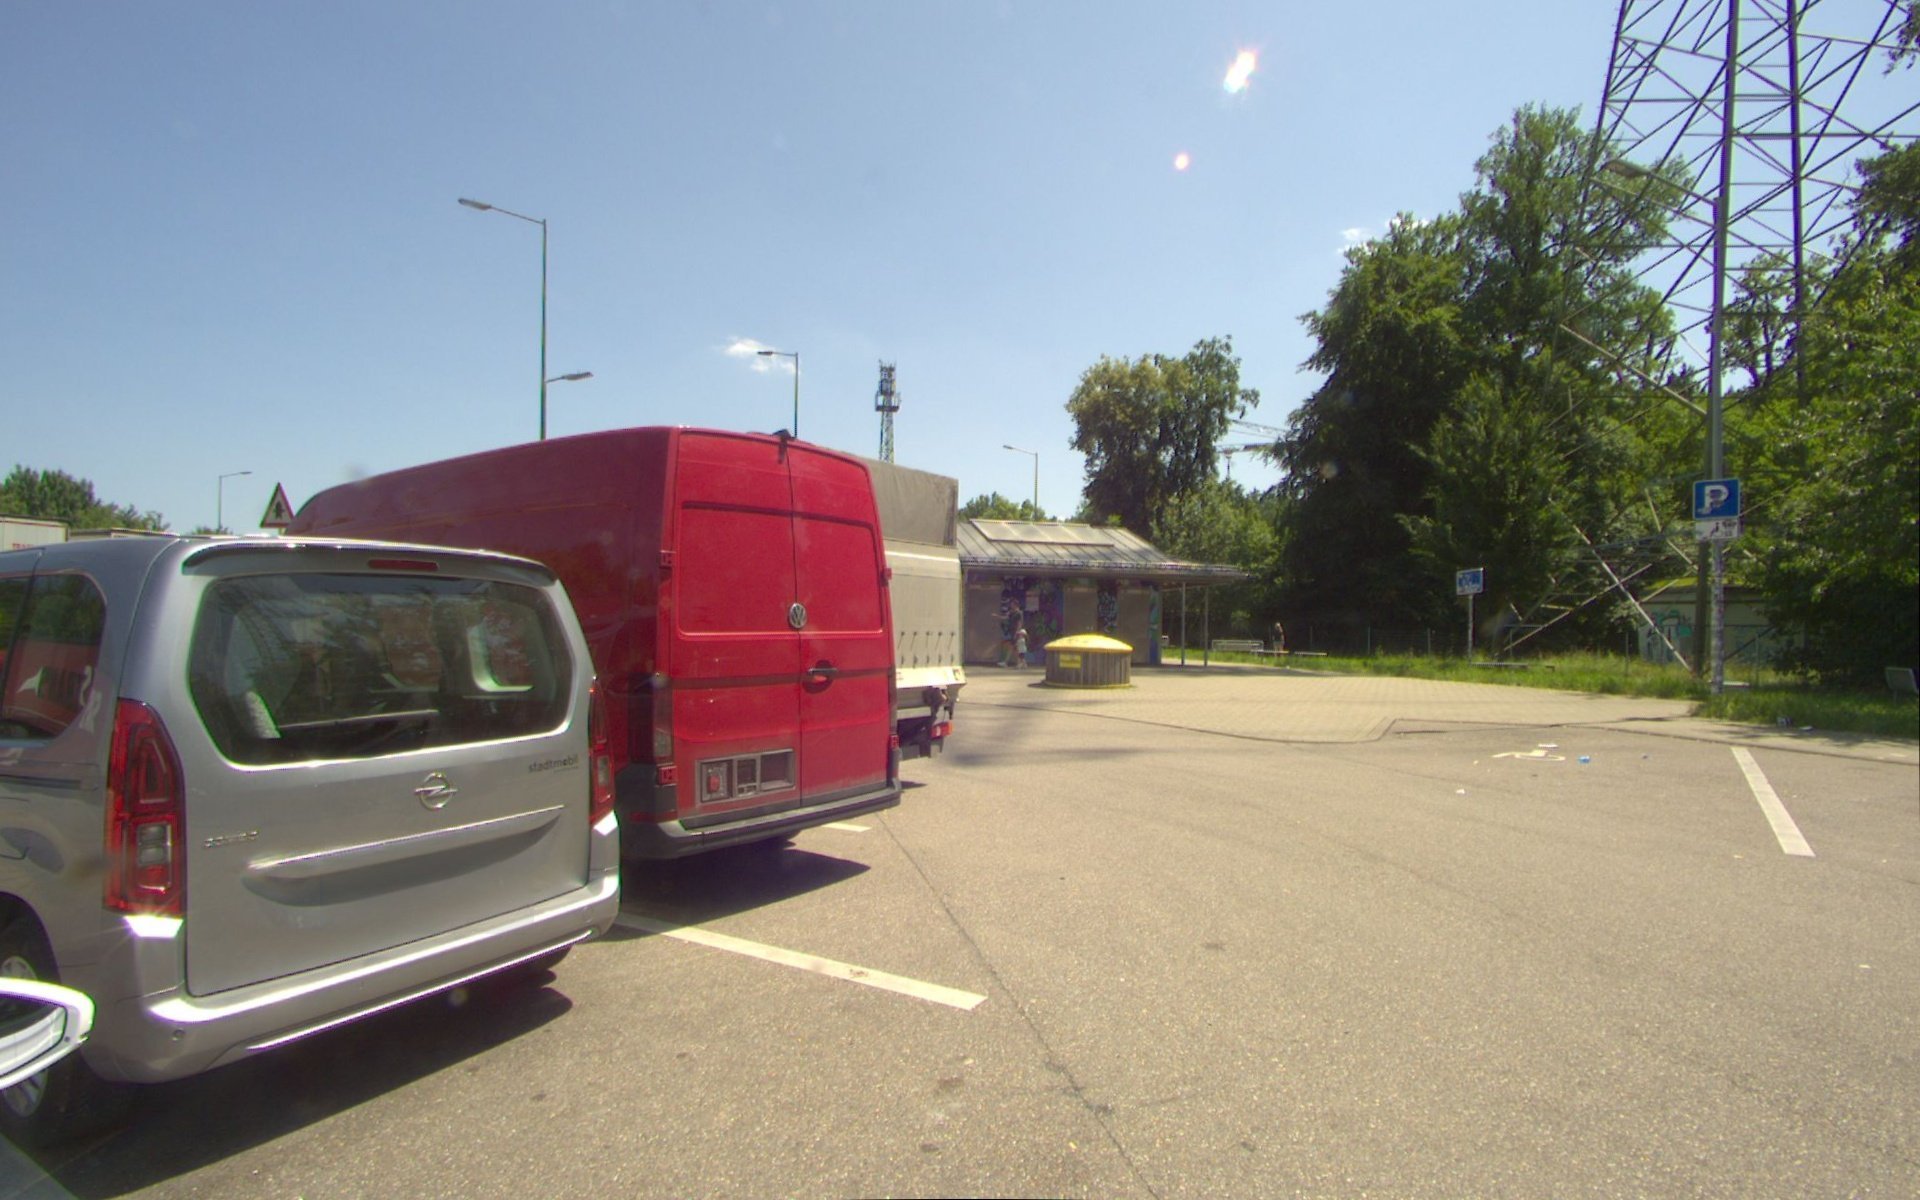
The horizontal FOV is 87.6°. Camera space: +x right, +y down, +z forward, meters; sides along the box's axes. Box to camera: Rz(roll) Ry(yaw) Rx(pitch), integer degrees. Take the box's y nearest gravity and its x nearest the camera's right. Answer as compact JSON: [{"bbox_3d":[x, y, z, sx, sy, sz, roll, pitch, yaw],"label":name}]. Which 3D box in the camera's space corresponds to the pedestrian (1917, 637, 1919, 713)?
[{"bbox_3d":[17.266,1.323,17.472,0.690,1.352,0.561,-1,-1,33],"label":"pedestrian"}]

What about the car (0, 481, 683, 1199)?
[{"bbox_3d":[-3.375,0.688,4.244,4.113,1.887,1.868,1,-2,31],"label":"car"}]

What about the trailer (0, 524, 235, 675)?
[{"bbox_3d":[-27.944,-0.105,31.785,14.184,4.040,2.808,2,-2,33],"label":"trailer"}]

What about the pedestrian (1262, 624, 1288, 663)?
[{"bbox_3d":[13.670,1.891,43.425,0.780,1.658,0.734,0,-1,-26],"label":"pedestrian"}]

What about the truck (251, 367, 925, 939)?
[{"bbox_3d":[-2.882,0.338,7.044,5.238,2.655,1.972,-2,-2,38],"label":"truck"}]

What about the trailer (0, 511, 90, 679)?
[{"bbox_3d":[-29.008,-0.262,28.139,14.184,4.040,2.808,2,-2,33],"label":"trailer"}]

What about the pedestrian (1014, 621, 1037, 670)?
[{"bbox_3d":[1.720,1.196,26.353,0.523,1.254,0.437,0,-1,-10],"label":"pedestrian"}]

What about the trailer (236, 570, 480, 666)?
[{"bbox_3d":[-26.090,0.642,42.900,14.184,3.552,2.808,2,-2,33],"label":"trailer"}]

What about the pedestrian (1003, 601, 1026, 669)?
[{"bbox_3d":[1.461,0.945,26.883,0.523,1.796,0.437,0,-1,-10],"label":"pedestrian"}]

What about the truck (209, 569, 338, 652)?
[{"bbox_3d":[-32.084,0.462,46.758,5.813,3.566,2.799,2,-2,33],"label":"truck"}]

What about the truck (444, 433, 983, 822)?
[{"bbox_3d":[-2.730,0.305,10.283,5.582,2.949,2.449,-2,-2,37],"label":"truck"}]
